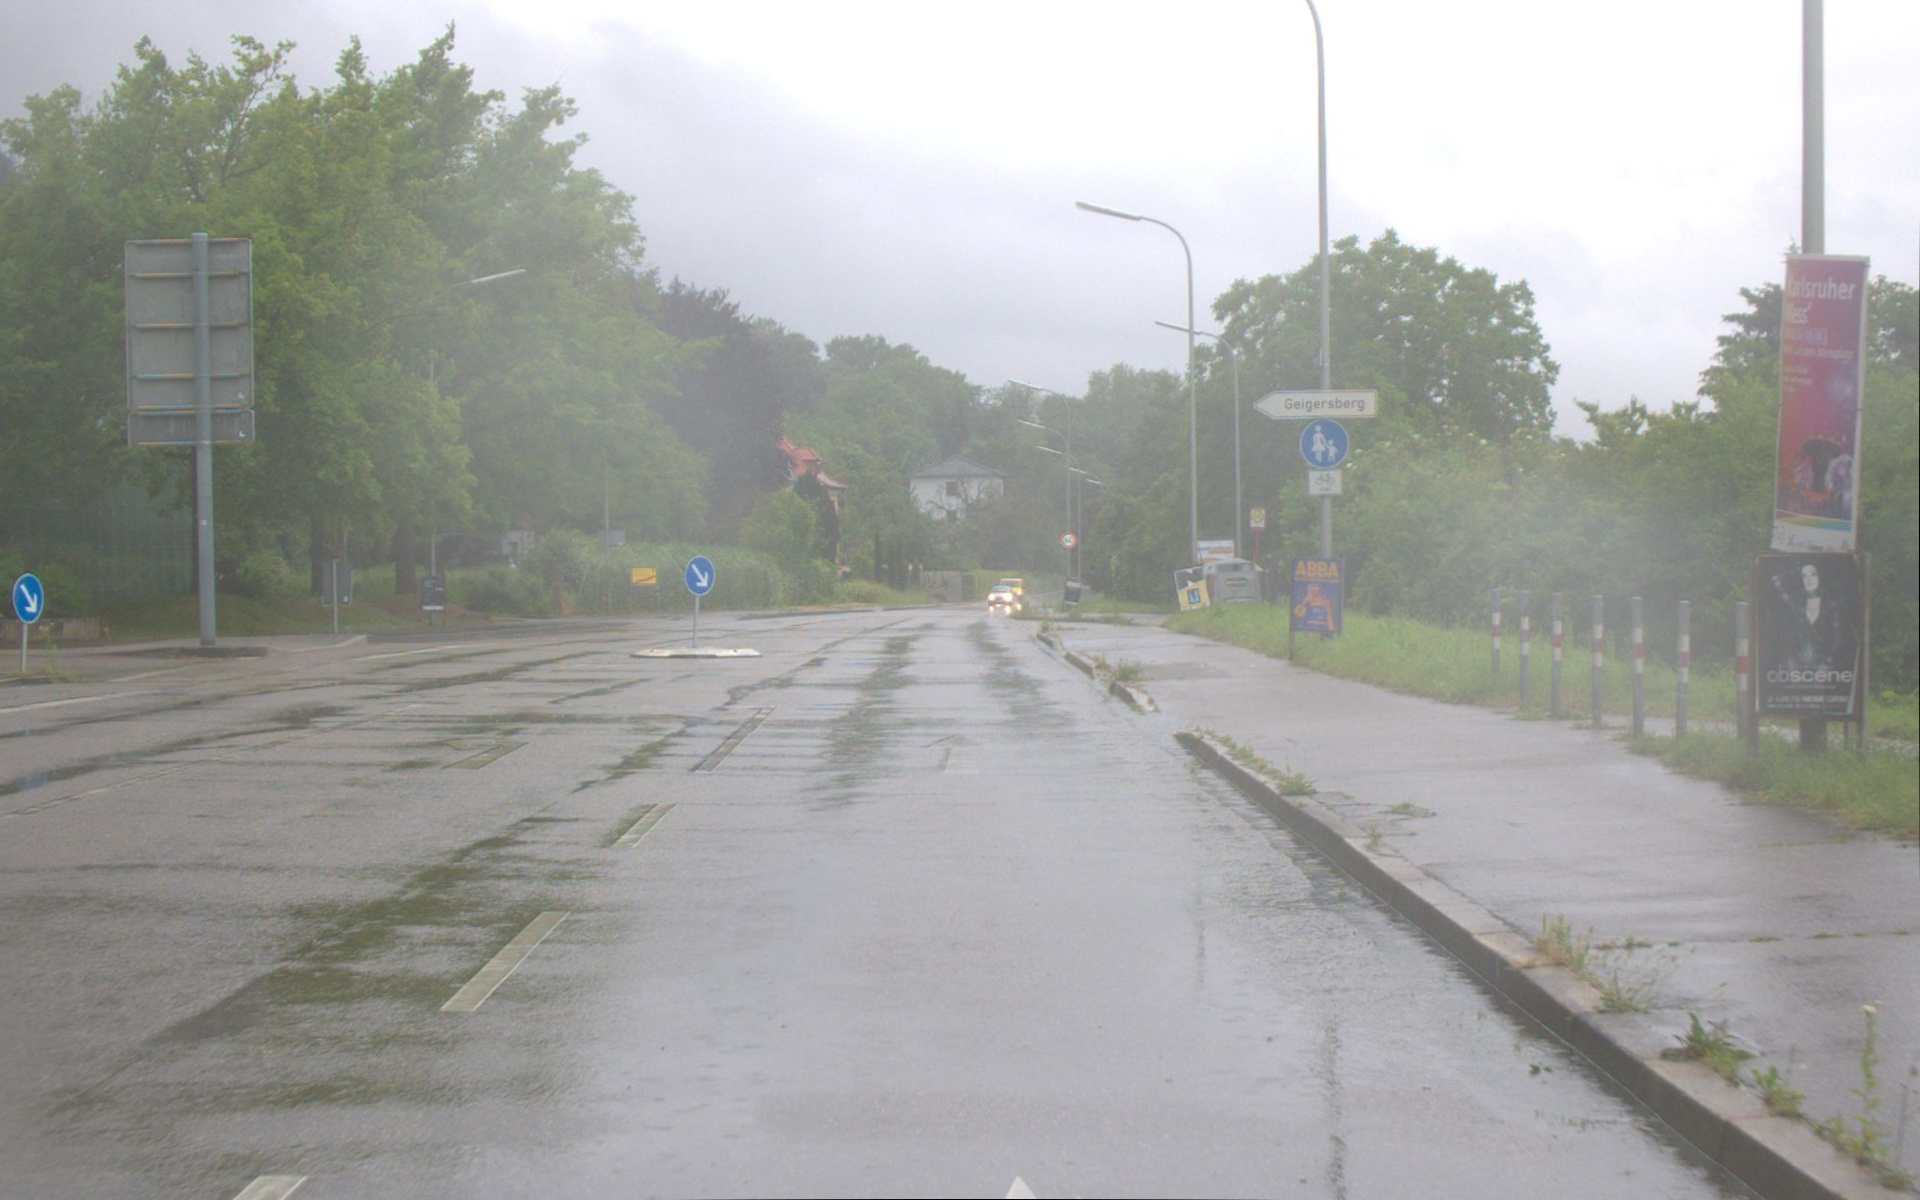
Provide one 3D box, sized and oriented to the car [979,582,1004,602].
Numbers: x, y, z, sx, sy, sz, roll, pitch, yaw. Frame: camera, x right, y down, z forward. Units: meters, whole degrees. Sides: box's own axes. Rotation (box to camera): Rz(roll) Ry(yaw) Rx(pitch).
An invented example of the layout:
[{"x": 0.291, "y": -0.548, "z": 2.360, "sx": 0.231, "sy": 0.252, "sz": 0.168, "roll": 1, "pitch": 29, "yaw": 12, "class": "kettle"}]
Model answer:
[{"x": 2.196, "y": -0.558, "z": 238.686, "sx": 1.702, "sy": 1.345, "sz": 3.905, "roll": 0, "pitch": 0, "yaw": 2, "class": "car"}]
